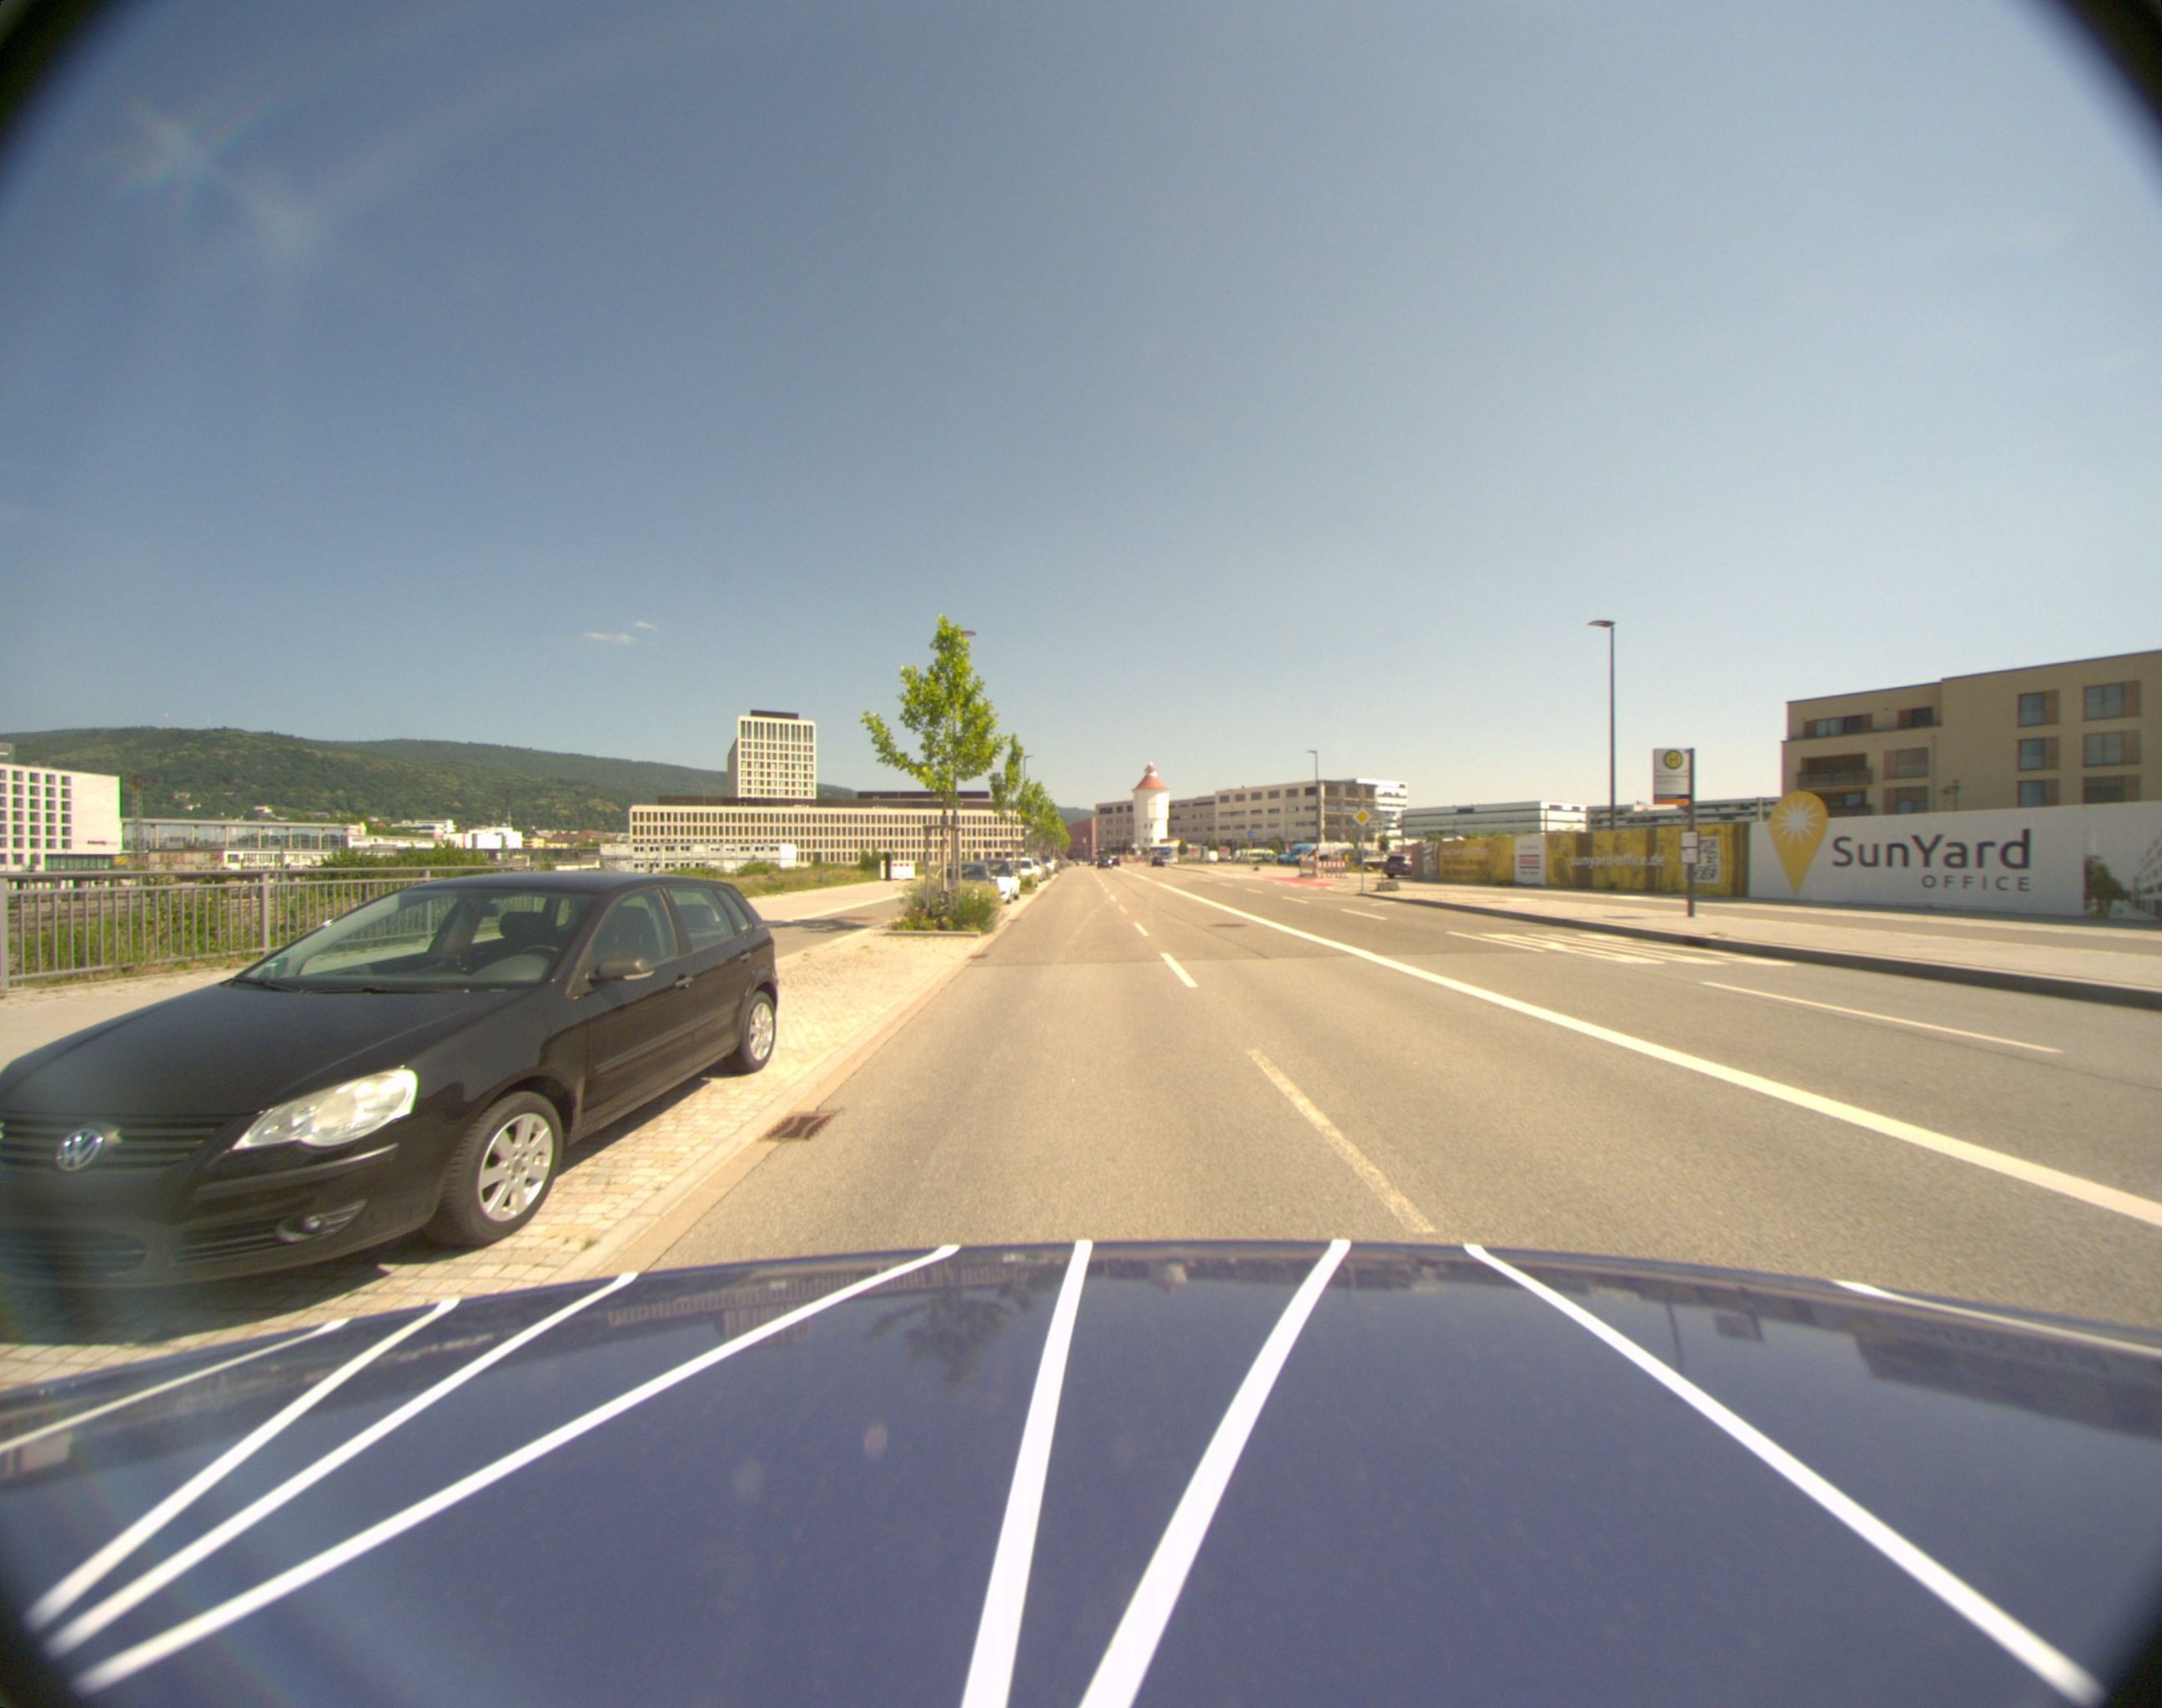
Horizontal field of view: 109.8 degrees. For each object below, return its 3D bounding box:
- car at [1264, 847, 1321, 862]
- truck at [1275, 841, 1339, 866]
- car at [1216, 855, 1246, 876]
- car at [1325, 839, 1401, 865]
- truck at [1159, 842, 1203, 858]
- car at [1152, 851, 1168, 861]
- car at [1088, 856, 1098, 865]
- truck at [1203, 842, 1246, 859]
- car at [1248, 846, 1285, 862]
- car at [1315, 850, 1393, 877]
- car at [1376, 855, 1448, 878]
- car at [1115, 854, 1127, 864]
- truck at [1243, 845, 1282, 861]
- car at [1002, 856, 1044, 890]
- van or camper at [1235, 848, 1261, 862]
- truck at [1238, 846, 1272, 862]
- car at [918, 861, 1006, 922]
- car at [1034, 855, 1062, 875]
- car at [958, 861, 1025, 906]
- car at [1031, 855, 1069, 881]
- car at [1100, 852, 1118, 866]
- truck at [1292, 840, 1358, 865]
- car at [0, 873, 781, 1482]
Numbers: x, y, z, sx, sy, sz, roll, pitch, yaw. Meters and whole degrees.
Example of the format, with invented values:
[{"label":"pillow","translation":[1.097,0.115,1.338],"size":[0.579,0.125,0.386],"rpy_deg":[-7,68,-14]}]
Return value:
[{"label":"car","translation":[23.253,0.088,83.567],"size":[5.666,1.465,2.107],"rpy_deg":[-1,0,-2]},{"label":"truck","translation":[23.610,-0.076,79.657],"size":[6.019,2.528,2.275],"rpy_deg":[0,0,0]},{"label":"car","translation":[11.688,0.858,59.368],"size":[1.611,1.468,3.678],"rpy_deg":[1,1,1]},{"label":"car","translation":[23.398,-0.165,63.254],"size":[5.458,2.160,2.394],"rpy_deg":[0,0,-3]},{"label":"truck","translation":[26.648,-1.106,202.316],"size":[10.988,4.044,3.296],"rpy_deg":[-2,2,-17]},{"label":"car","translation":[10.282,0.256,98.966],"size":[1.708,1.344,4.455],"rpy_deg":[0,0,0]},{"label":"car","translation":[2.219,1.148,139.231],"size":[1.783,1.552,3.832],"rpy_deg":[-1,0,2]},{"label":"truck","translation":[38.743,-0.921,205.244],"size":[10.951,4.251,3.341],"rpy_deg":[-2,1,-11]},{"label":"car","translation":[21.887,0.006,89.683],"size":[3.994,1.892,1.828],"rpy_deg":[0,0,7]},{"label":"car","translation":[23.600,0.826,65.914],"size":[5.897,2.153,2.396],"rpy_deg":[-2,0,1]},{"label":"car","translation":[19.778,0.698,45.306],"size":[4.255,1.310,1.995],"rpy_deg":[0,0,-35]},{"label":"car","translation":[6.720,0.841,127.534],"size":[1.917,1.640,4.732],"rpy_deg":[-1,0,3]},{"label":"truck","translation":[34.440,-0.134,144.004],"size":[6.654,2.809,2.602],"rpy_deg":[-1,0,-3]},{"label":"car","translation":[-2.718,0.885,36.339],"size":[1.750,1.500,4.001],"rpy_deg":[-1,0,-1]},{"label":"van or camper","translation":[34.323,0.216,156.077],"size":[4.912,2.646,2.260],"rpy_deg":[-1,0,0]},{"label":"truck","translation":[34.837,-0.049,151.925],"size":[6.160,2.885,2.570],"rpy_deg":[-2,1,1]},{"label":"car","translation":[-3.151,0.952,20.908],"size":[1.708,1.454,3.954],"rpy_deg":[-1,0,1]},{"label":"car","translation":[-2.671,0.875,62.538],"size":[1.913,1.568,4.158],"rpy_deg":[0,0,3]},{"label":"car","translation":[-3.070,0.979,26.722],"size":[1.708,1.454,4.086],"rpy_deg":[0,0,2]},{"label":"car","translation":[-1.795,0.820,45.405],"size":[1.913,1.470,4.158],"rpy_deg":[0,0,3]},{"label":"car","translation":[3.148,0.499,85.780],"size":[1.783,1.552,3.831],"rpy_deg":[0,0,0]},{"label":"truck","translation":[23.231,-0.132,72.562],"size":[5.581,2.349,2.275],"rpy_deg":[0,0,-1]},{"label":"car","translation":[-3.170,0.928,3.996],"size":[1.709,1.454,3.952],"rpy_deg":[1,1,-2]}]
